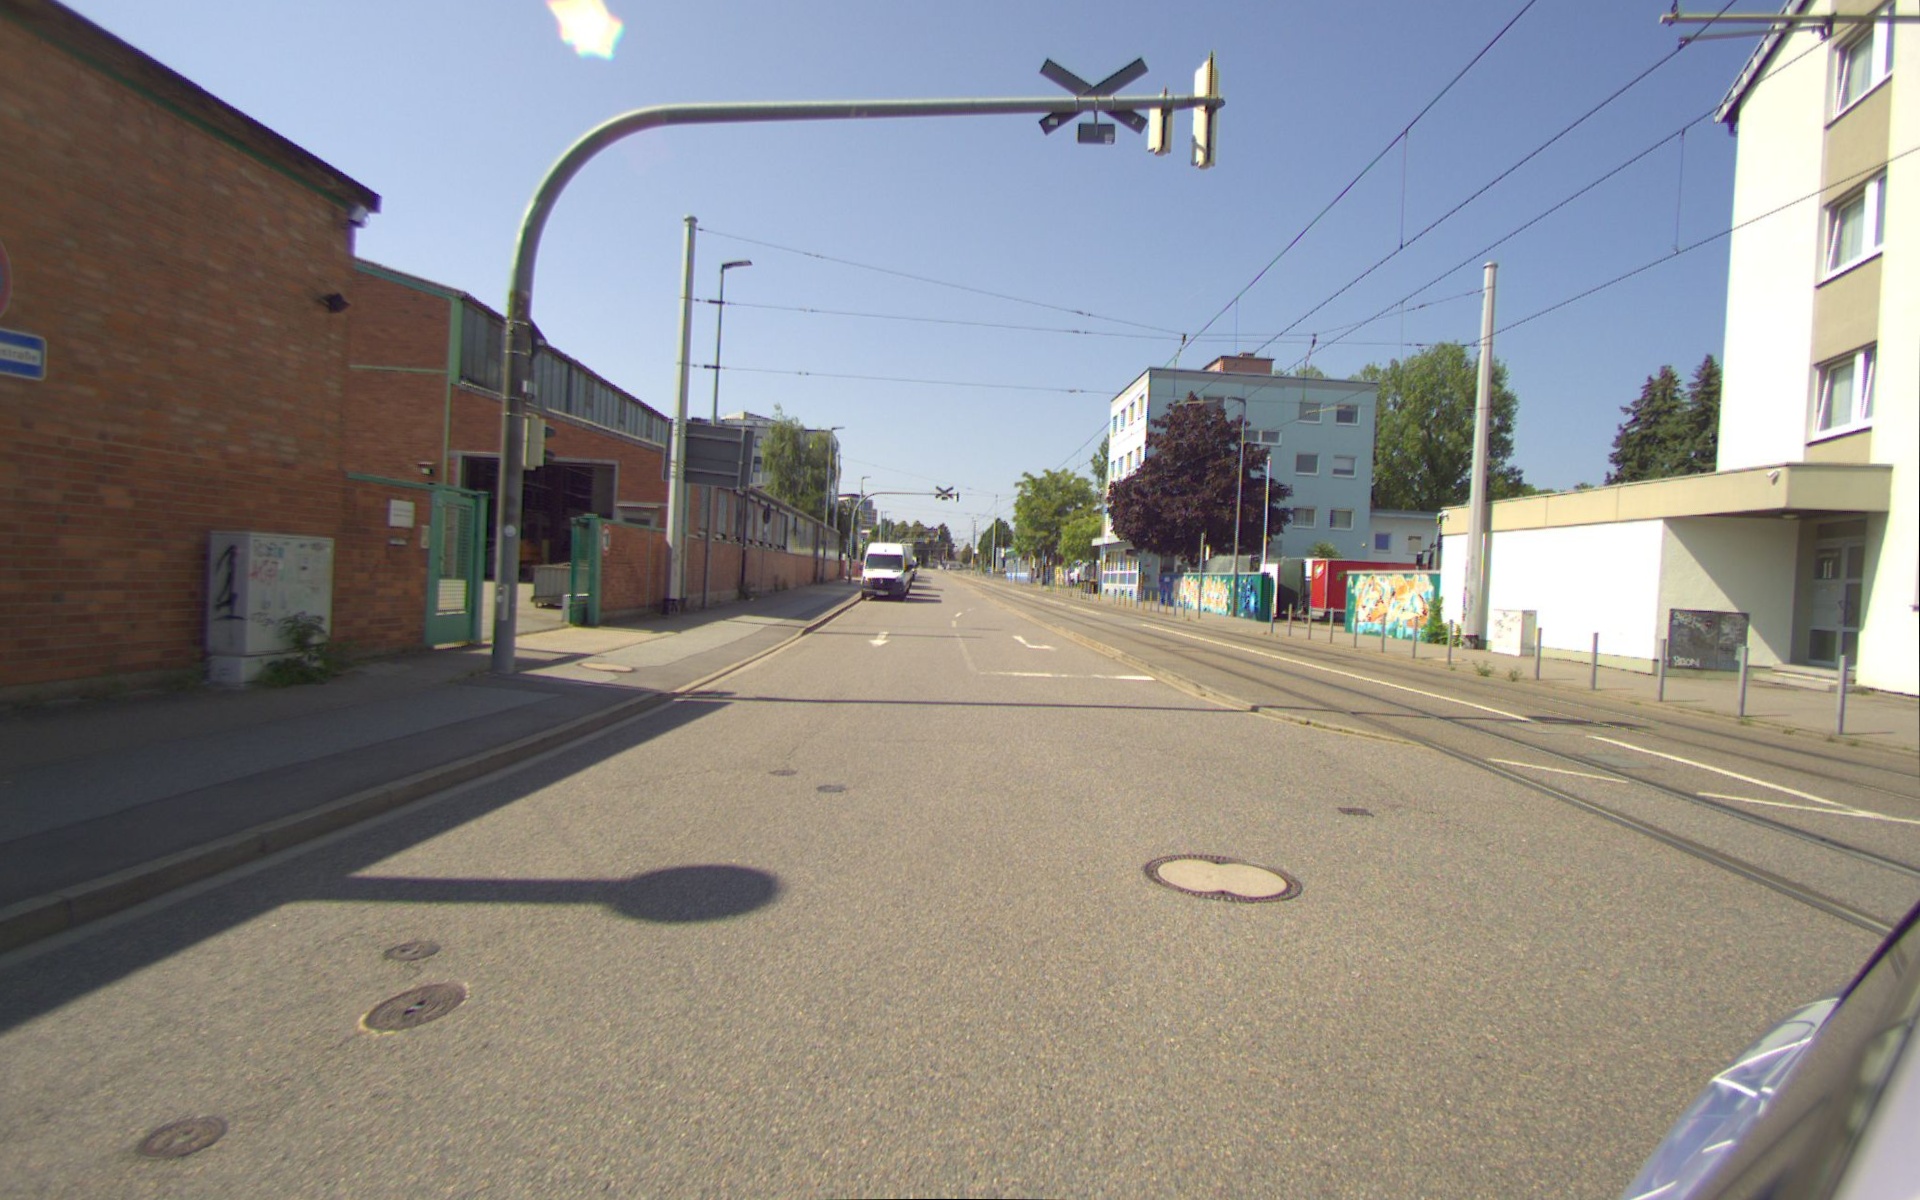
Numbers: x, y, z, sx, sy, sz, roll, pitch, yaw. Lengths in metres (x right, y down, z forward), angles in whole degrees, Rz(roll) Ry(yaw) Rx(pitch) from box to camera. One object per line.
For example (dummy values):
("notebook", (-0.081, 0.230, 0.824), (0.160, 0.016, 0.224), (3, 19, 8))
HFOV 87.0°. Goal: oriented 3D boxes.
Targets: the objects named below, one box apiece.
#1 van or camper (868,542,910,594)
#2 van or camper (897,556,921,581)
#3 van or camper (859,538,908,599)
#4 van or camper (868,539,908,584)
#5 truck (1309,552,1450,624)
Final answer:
("van or camper", (-3.740, -1.701, 54.336), (2.004, 2.565, 5.586), (2, 2, -3))
("van or camper", (-4.852, -2.981, 95.348), (1.919, 2.238, 4.915), (3, 2, -6))
("van or camper", (-3.453, -1.454, 46.857), (2.004, 2.565, 5.874), (2, 2, -3))
("van or camper", (-4.904, -2.631, 69.169), (2.475, 2.820, 7.123), (2, 2, -3))
("truck", (17.138, -0.517, 41.527), (4.747, 2.658, 2.188), (3, 1, 4))
